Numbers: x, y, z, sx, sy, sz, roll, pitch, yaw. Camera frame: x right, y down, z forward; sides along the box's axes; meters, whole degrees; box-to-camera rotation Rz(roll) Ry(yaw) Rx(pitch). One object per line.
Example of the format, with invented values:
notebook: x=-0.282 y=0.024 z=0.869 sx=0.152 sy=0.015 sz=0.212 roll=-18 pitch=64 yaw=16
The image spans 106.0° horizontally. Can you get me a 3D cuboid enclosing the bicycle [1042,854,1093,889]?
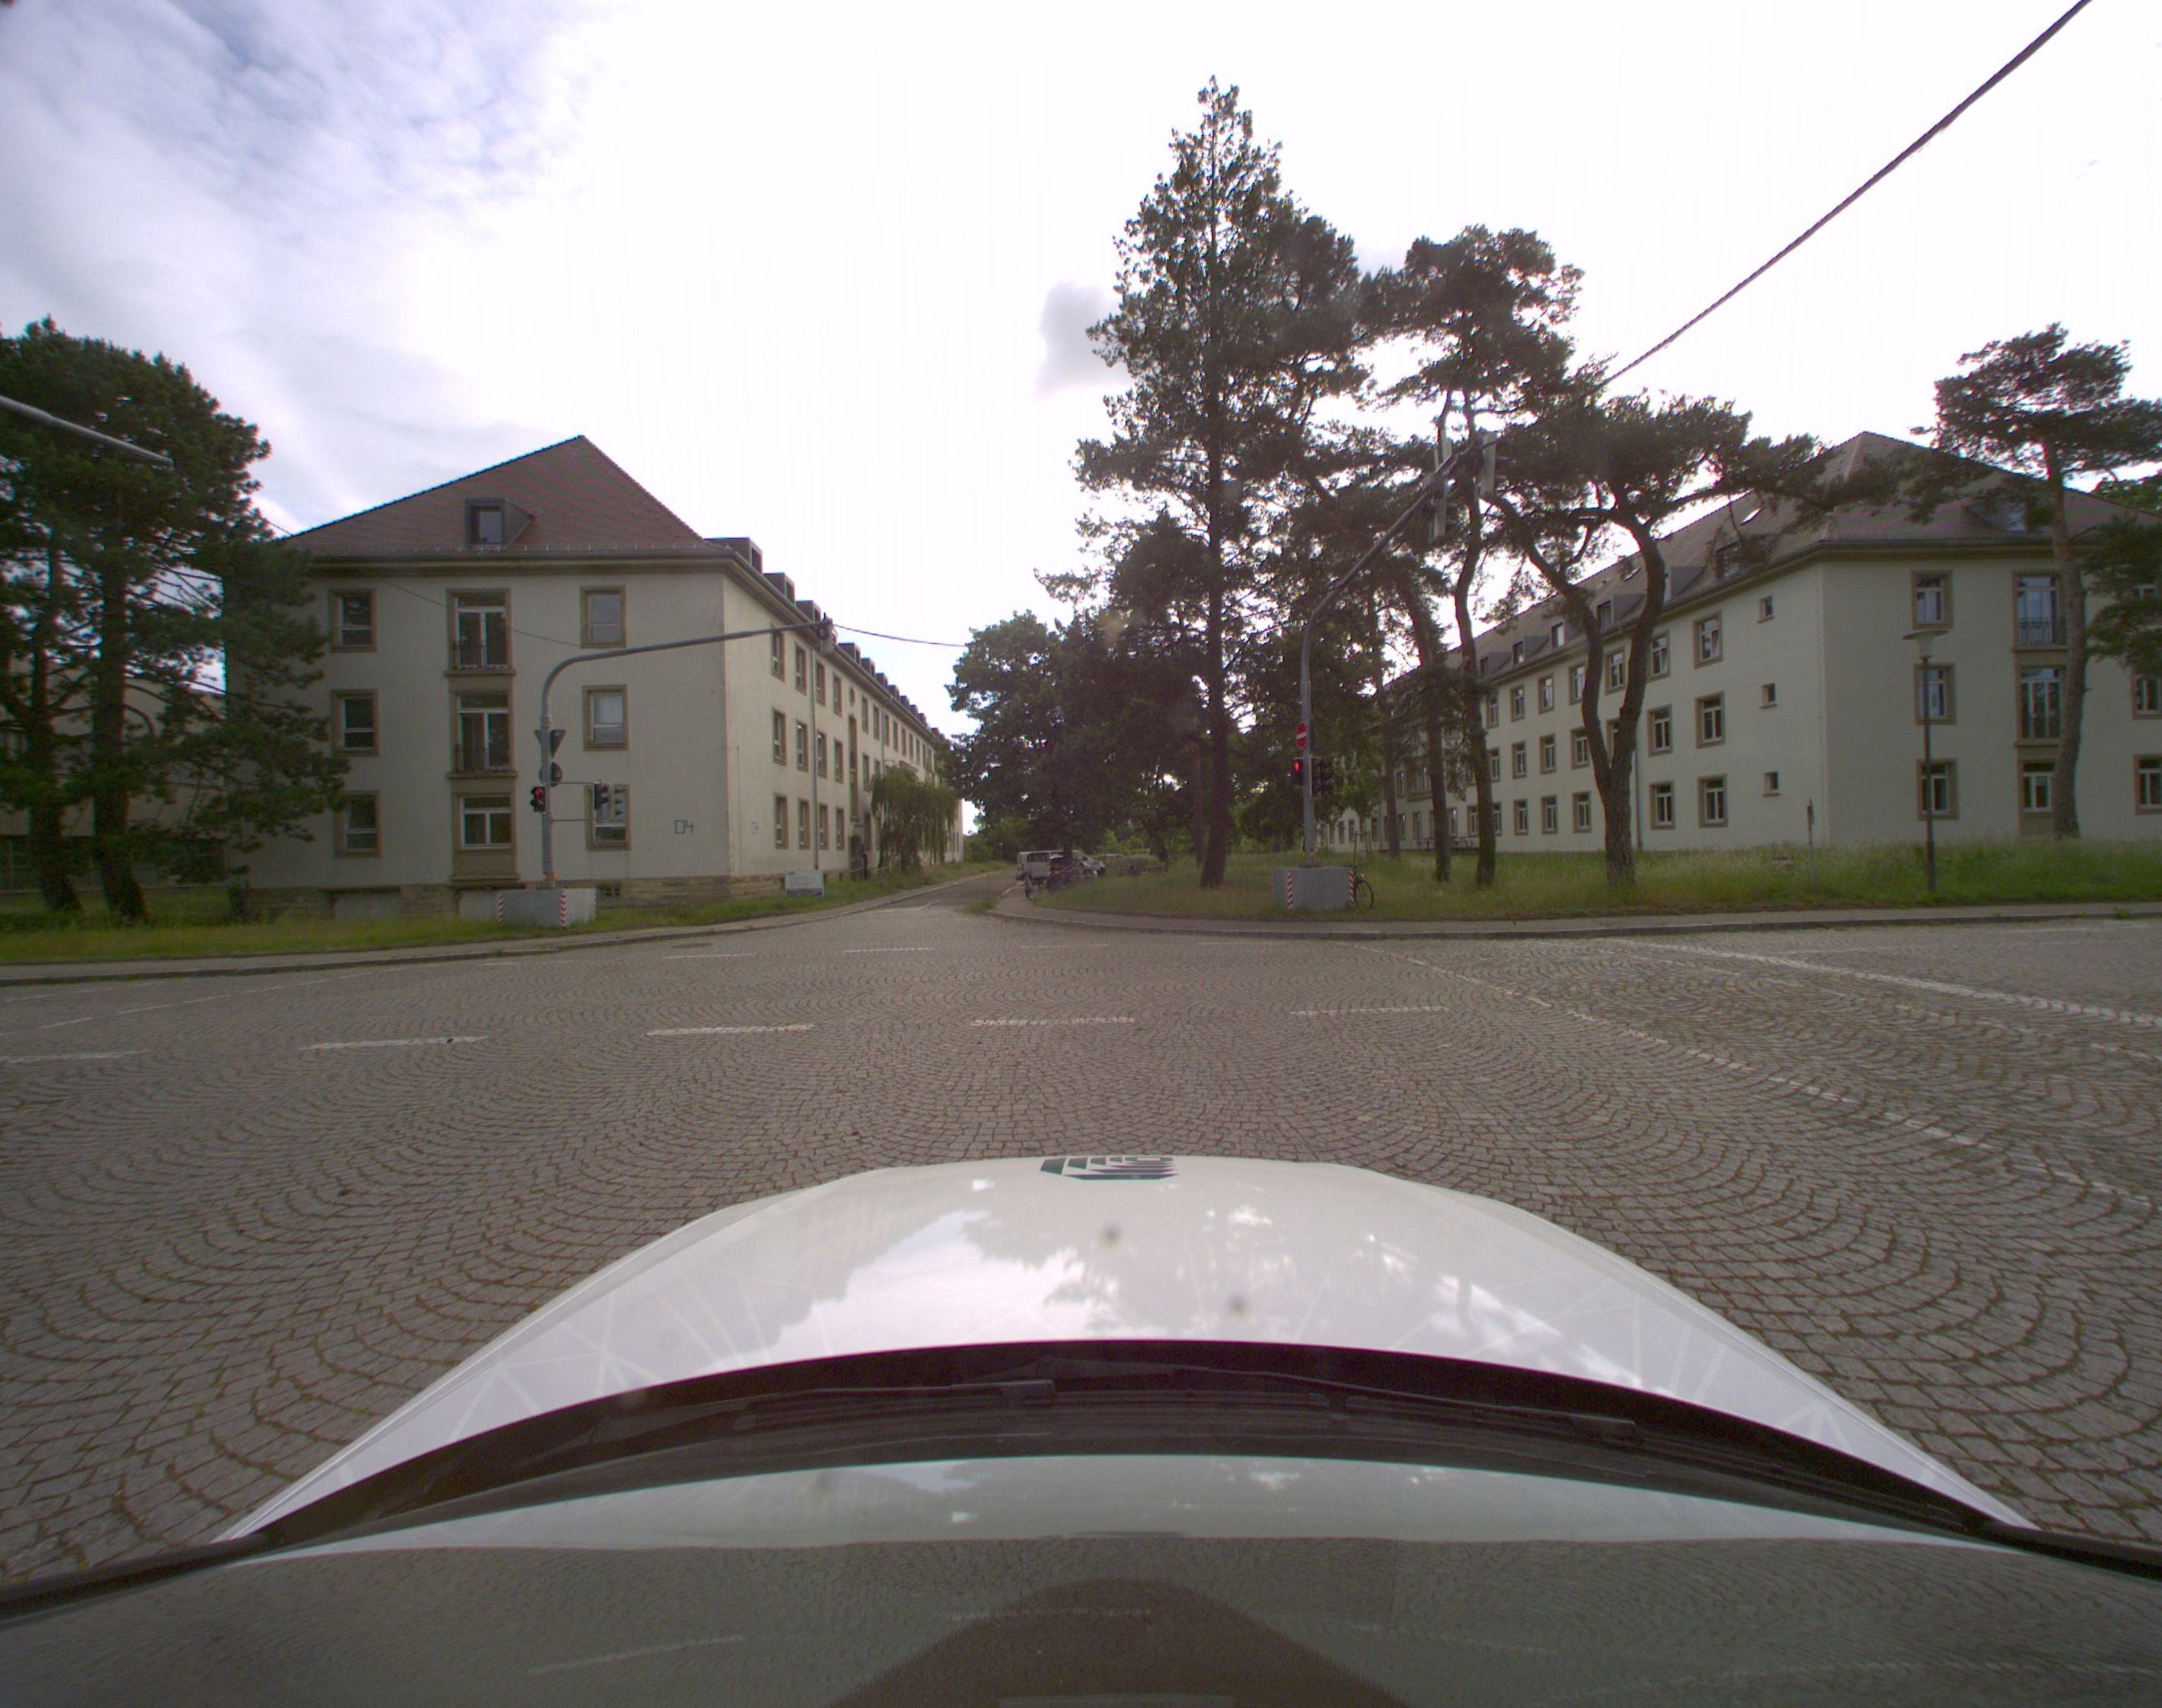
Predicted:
bicycle: x=-0.546 y=0.710 z=33.242 sx=2.063 sy=1.378 sz=0.620 roll=-2 pitch=0 yaw=-1

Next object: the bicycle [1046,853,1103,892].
bicycle: x=-0.227 y=0.691 z=30.360 sx=2.063 sy=1.378 sz=0.620 roll=-2 pitch=0 yaw=-1

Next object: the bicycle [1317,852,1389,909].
bicycle: x=6.065 y=0.563 z=18.263 sx=0.906 sy=1.177 sz=1.873 roll=-2 pitch=0 yaw=-2

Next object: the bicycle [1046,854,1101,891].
bicycle: x=-0.298 y=0.701 z=31.654 sx=2.063 sy=1.378 sz=0.620 roll=-2 pitch=0 yaw=-1

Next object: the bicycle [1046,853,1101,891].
bicycle: x=-0.283 y=0.696 z=31.029 sx=2.063 sy=1.378 sz=0.620 roll=-2 pitch=0 yaw=-1

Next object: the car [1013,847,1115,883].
car: x=-1.022 y=0.647 z=48.227 sx=5.699 sy=1.910 sz=2.220 roll=-2 pitch=0 yaw=-14

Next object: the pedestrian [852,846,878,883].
pedestrian: x=-12.084 y=0.604 z=45.507 sx=1.082 sy=2.013 sz=1.023 roll=-2 pitch=0 yaw=4

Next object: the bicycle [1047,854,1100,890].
bicycle: x=-0.305 y=0.707 z=32.450 sx=2.063 sy=1.378 sz=0.620 roll=-2 pitch=0 yaw=-1

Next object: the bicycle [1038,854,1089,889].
bicycle: x=-0.710 y=0.716 z=33.975 sx=2.063 sy=1.378 sz=0.620 roll=-2 pitch=0 yaw=-1

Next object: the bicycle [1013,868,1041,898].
bicycle: x=-1.878 y=1.008 z=28.517 sx=0.615 sy=0.963 sz=2.080 roll=-2 pitch=0 yaw=6

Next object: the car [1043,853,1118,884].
car: x=-0.065 y=0.767 z=44.883 sx=3.927 sy=1.544 sz=1.996 roll=-2 pitch=0 yaw=-6

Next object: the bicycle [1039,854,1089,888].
bicycle: x=-0.710 y=0.723 z=34.723 sx=2.063 sy=1.378 sz=0.620 roll=-2 pitch=0 yaw=-1
